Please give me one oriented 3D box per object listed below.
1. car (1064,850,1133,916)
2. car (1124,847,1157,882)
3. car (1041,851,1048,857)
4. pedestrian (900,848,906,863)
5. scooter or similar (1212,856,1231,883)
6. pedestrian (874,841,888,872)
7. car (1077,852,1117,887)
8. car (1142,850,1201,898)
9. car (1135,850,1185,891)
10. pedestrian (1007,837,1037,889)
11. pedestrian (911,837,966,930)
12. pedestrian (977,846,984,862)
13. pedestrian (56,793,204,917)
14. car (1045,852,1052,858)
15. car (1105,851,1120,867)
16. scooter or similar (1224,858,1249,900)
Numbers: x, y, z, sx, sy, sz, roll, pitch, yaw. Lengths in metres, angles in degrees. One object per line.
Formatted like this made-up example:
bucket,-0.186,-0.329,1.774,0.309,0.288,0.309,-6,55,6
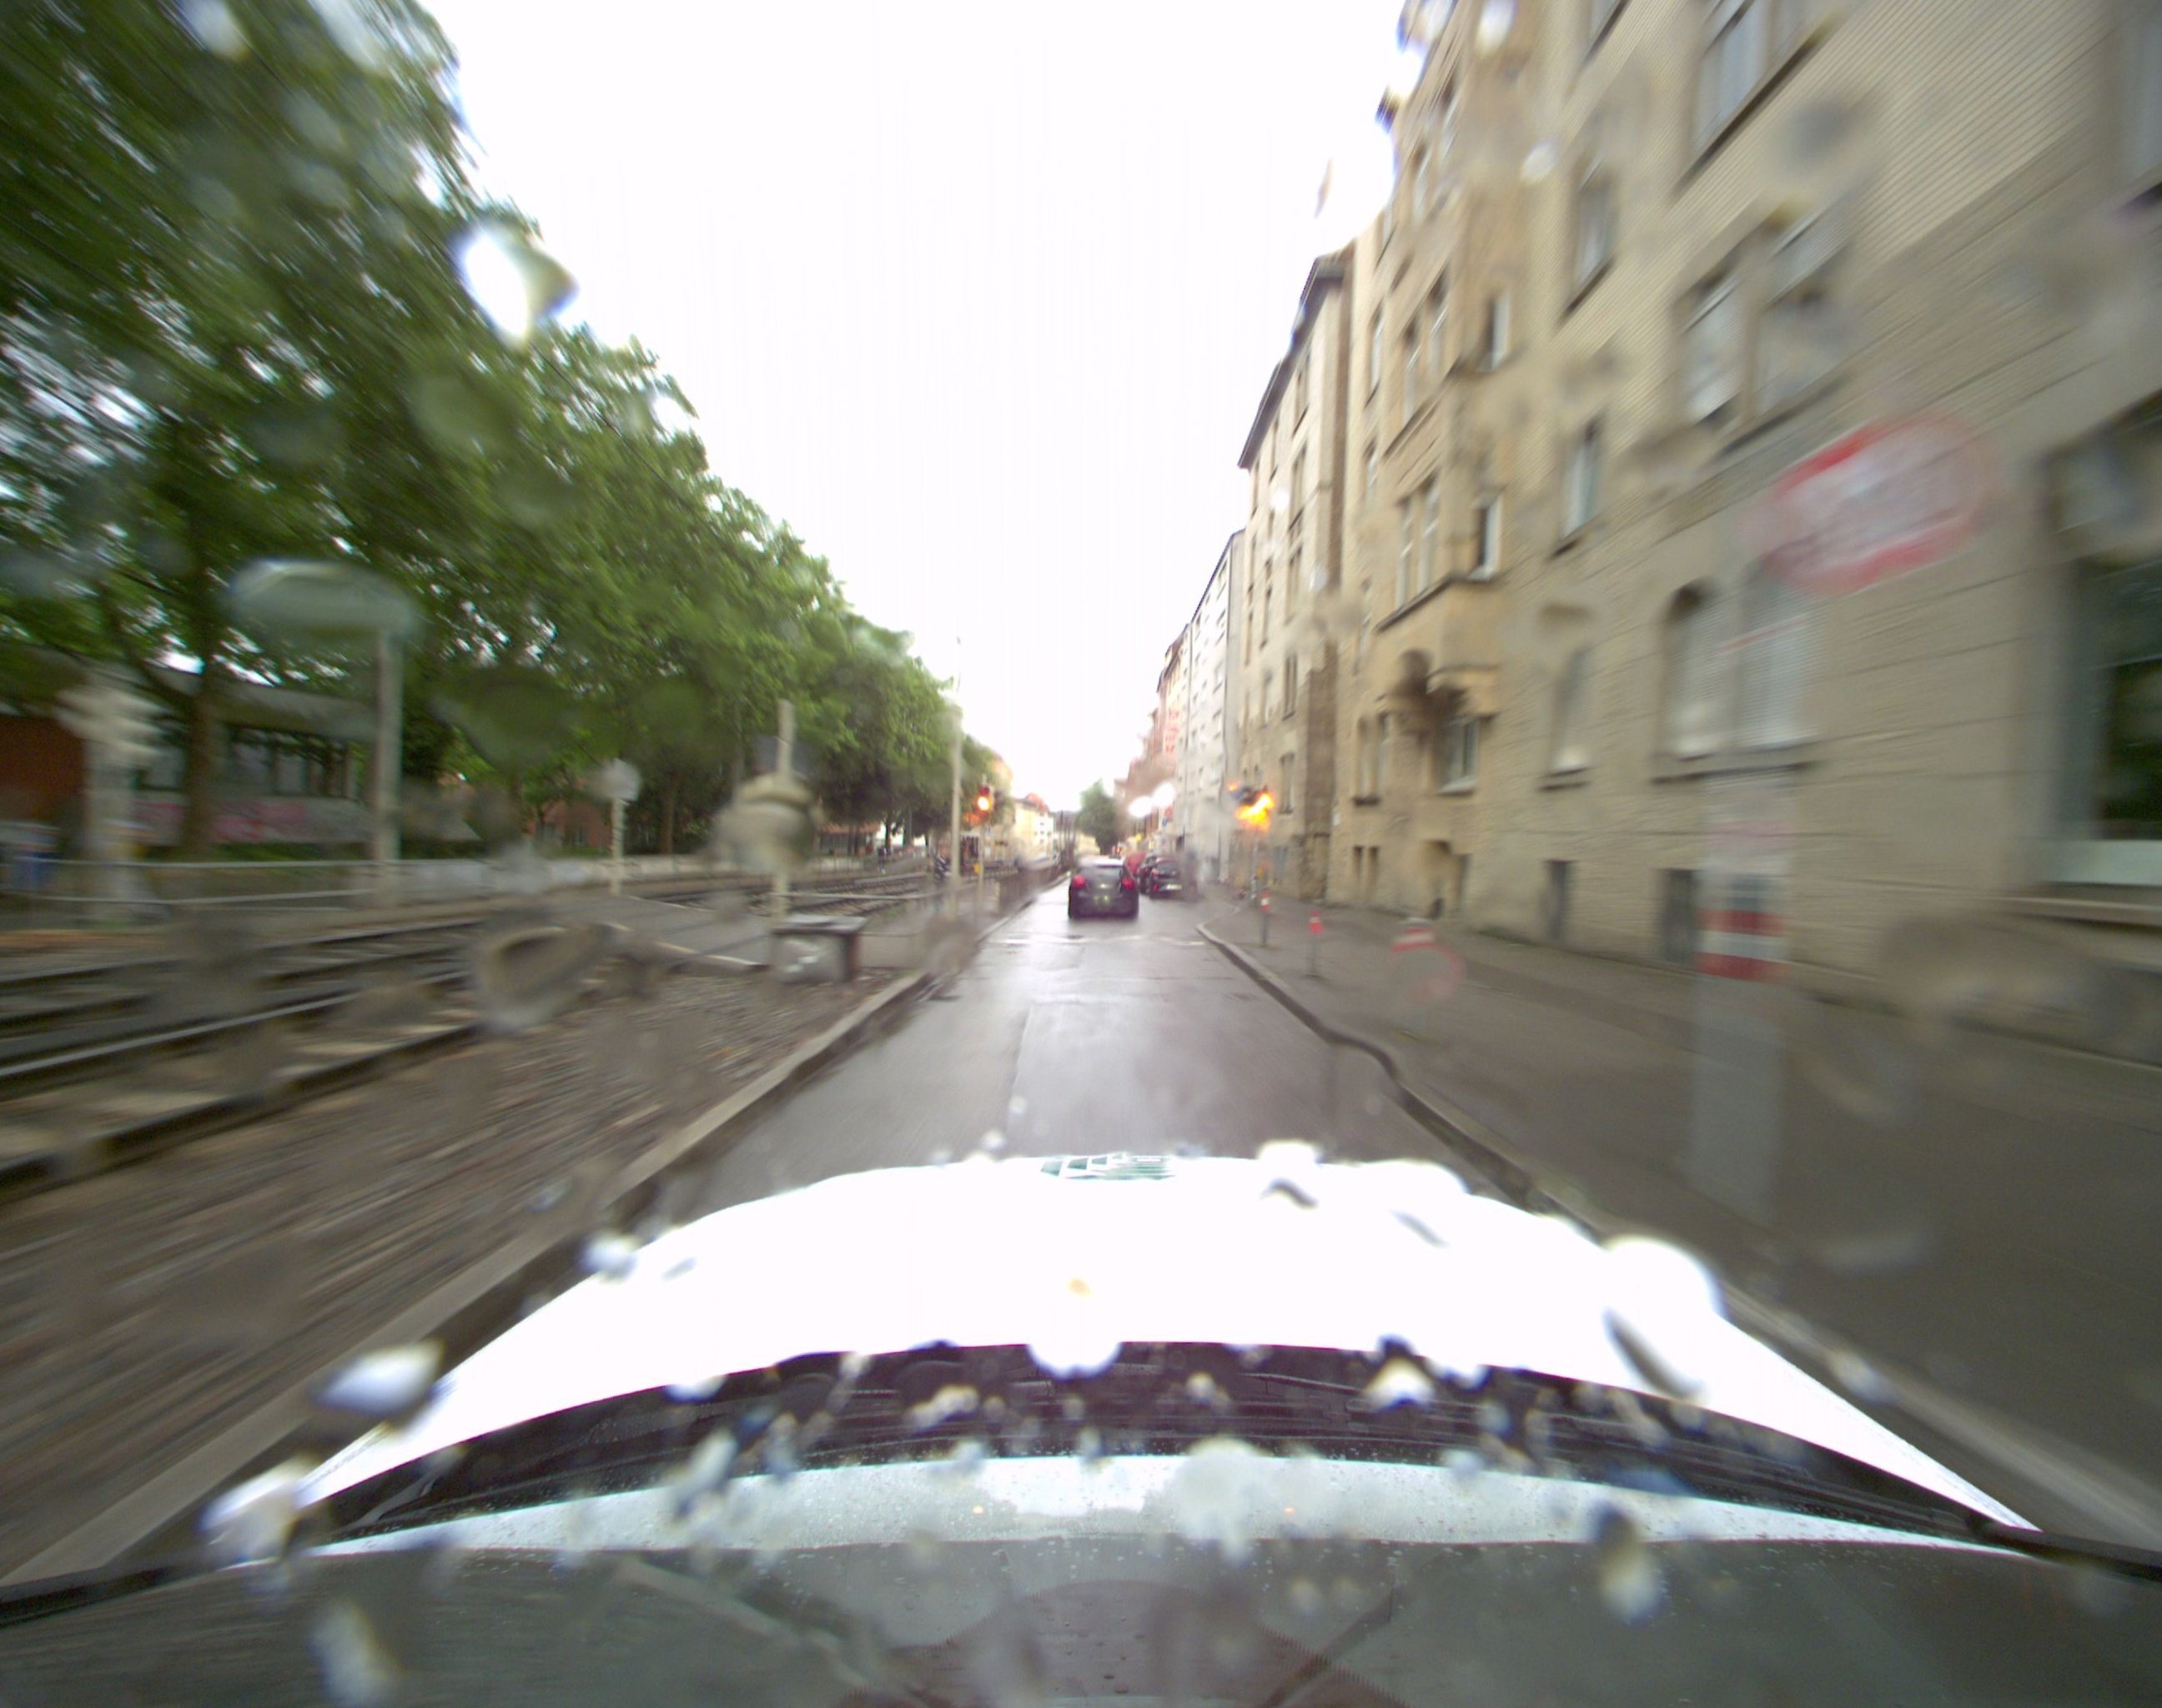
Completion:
car,0.432,0.672,20.640,1.575,1.505,3.574,1,0,0
car,3.579,0.615,49.404,1.753,2.013,4.001,-1,0,1
car,-9.796,-0.032,218.647,1.723,1.709,3.884,0,-1,2
pedestrian,-19.259,0.128,88.023,0.517,1.596,0.600,0,0,1
scooter or similar,6.988,0.764,40.520,0.448,1.321,1.774,-1,0,-6
pedestrian,-11.614,0.134,47.270,0.532,1.754,0.607,3,0,1
car,0.773,0.712,39.080,1.779,1.581,4.001,1,0,1
car,3.276,0.680,30.048,1.820,1.618,3.865,-1,0,1
car,3.264,0.630,34.174,1.753,1.579,4.001,-1,0,1
pedestrian,-2.297,0.343,31.879,1.135,1.998,1.171,-1,0,-3
pedestrian,-2.569,0.517,14.791,0.803,1.633,0.892,-1,0,1
pedestrian,-10.348,-0.004,84.044,0.516,1.717,0.551,3,0,1
pedestrian,-13.837,0.009,11.885,1.050,1.718,0.904,2,0,2
car,-9.796,0.232,246.394,1.723,1.687,3.884,0,-1,2
car,4.153,0.658,107.200,1.986,2.013,4.002,-1,0,2
scooter or similar,5.097,0.797,26.792,0.447,1.321,1.776,-1,0,-2
